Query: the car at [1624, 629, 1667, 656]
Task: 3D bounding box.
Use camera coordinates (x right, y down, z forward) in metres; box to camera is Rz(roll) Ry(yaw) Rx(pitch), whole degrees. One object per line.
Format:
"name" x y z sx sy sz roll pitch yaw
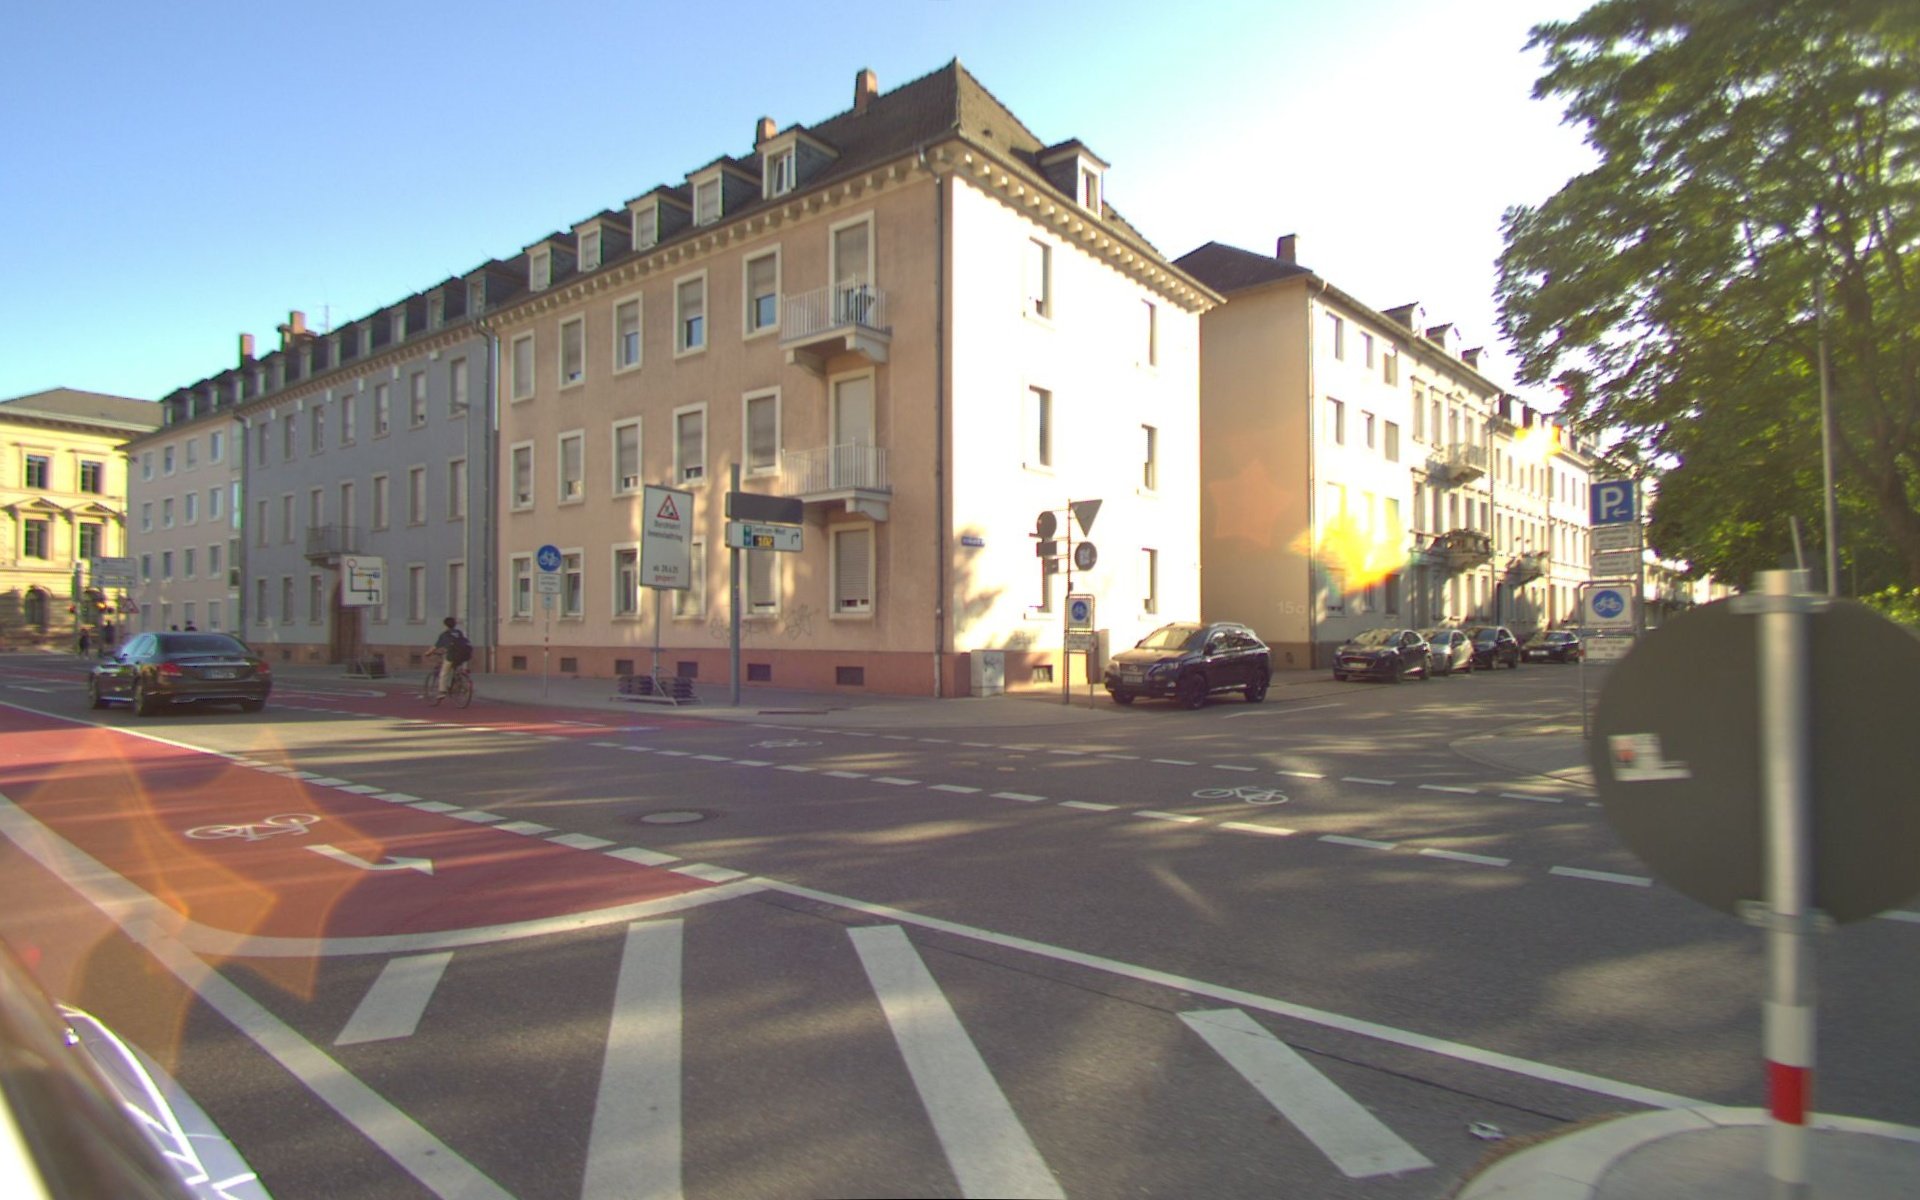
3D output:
"car" 44.706 2.740 65.956 1.826 1.697 3.945 -2 -3 41

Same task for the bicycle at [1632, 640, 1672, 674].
"bicycle" 21.455 1.765 31.365 0.739 1.003 2.080 -2 -4 42

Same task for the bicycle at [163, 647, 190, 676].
"bicycle" -28.443 2.231 36.729 0.638 1.003 2.112 3 -4 -40

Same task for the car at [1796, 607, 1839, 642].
"car" 68.259 1.945 80.519 2.411 2.666 5.034 -2 -3 42

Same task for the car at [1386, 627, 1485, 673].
"car" 15.832 1.630 33.591 1.877 1.431 4.211 -2 -3 41

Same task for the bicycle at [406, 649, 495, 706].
"bicycle" -9.659 1.444 19.141 2.106 1.003 0.645 -2 -4 38

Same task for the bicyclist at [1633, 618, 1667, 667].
"bicyclist" 21.227 1.309 31.132 0.740 1.497 0.655 -2 -4 43

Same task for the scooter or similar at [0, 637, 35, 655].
"scooter or similar" -64.413 3.103 68.911 1.999 1.197 0.457 1 -2 -34

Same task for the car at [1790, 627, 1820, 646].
"car" 59.748 2.562 71.560 1.557 1.317 3.431 -2 -3 41

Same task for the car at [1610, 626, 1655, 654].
"car" 41.182 2.431 61.960 1.648 1.686 3.943 -2 -3 43

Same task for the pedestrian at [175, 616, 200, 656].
"pedestrian" -36.594 1.707 47.943 1.011 1.860 0.626 -2 1 36

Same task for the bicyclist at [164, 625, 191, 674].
"bicyclist" -28.369 1.798 36.689 0.627 1.723 0.740 5 -6 -39

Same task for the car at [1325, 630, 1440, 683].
"car" 12.451 1.615 29.701 1.957 1.431 4.143 -2 -3 40

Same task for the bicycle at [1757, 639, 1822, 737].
"bicycle" 11.449 1.159 13.941 0.560 1.239 2.295 -2 -3 42

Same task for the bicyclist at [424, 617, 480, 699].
"bicyclist" -9.606 1.101 19.131 0.664 1.497 0.650 -2 -5 38

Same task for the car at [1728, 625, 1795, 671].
"car" 31.198 1.856 39.355 1.813 1.690 3.693 -2 -3 41

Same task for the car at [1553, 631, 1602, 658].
"car" 30.075 2.153 49.293 1.476 1.279 3.367 -2 -3 41

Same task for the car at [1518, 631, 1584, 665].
"car" 26.171 2.104 44.754 1.810 1.431 3.945 -2 -3 41

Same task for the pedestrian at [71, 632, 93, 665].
"pedestrian" -43.622 2.419 50.266 0.816 1.595 0.626 -2 1 35

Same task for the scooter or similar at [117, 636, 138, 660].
"scooter or similar" -44.106 2.537 53.602 1.471 1.194 0.528 -2 -1 37

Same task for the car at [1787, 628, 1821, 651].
"car" 53.155 2.484 63.716 1.529 1.437 3.692 -2 -3 41

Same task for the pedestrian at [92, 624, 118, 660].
"pedestrian" -46.426 2.269 54.967 1.013 1.877 0.859 -2 0 38

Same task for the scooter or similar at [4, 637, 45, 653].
"scooter or similar" -64.561 3.124 69.873 0.454 1.060 2.012 -2 -2 31

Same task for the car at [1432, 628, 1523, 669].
"car" 19.028 1.761 37.141 1.999 1.431 3.944 -2 -3 42

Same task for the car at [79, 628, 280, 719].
"car" -13.944 1.230 17.985 4.549 1.430 1.794 -2 -3 39

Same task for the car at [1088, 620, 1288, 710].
"car" 4.885 1.303 21.287 2.061 1.691 4.523 -2 -3 44
